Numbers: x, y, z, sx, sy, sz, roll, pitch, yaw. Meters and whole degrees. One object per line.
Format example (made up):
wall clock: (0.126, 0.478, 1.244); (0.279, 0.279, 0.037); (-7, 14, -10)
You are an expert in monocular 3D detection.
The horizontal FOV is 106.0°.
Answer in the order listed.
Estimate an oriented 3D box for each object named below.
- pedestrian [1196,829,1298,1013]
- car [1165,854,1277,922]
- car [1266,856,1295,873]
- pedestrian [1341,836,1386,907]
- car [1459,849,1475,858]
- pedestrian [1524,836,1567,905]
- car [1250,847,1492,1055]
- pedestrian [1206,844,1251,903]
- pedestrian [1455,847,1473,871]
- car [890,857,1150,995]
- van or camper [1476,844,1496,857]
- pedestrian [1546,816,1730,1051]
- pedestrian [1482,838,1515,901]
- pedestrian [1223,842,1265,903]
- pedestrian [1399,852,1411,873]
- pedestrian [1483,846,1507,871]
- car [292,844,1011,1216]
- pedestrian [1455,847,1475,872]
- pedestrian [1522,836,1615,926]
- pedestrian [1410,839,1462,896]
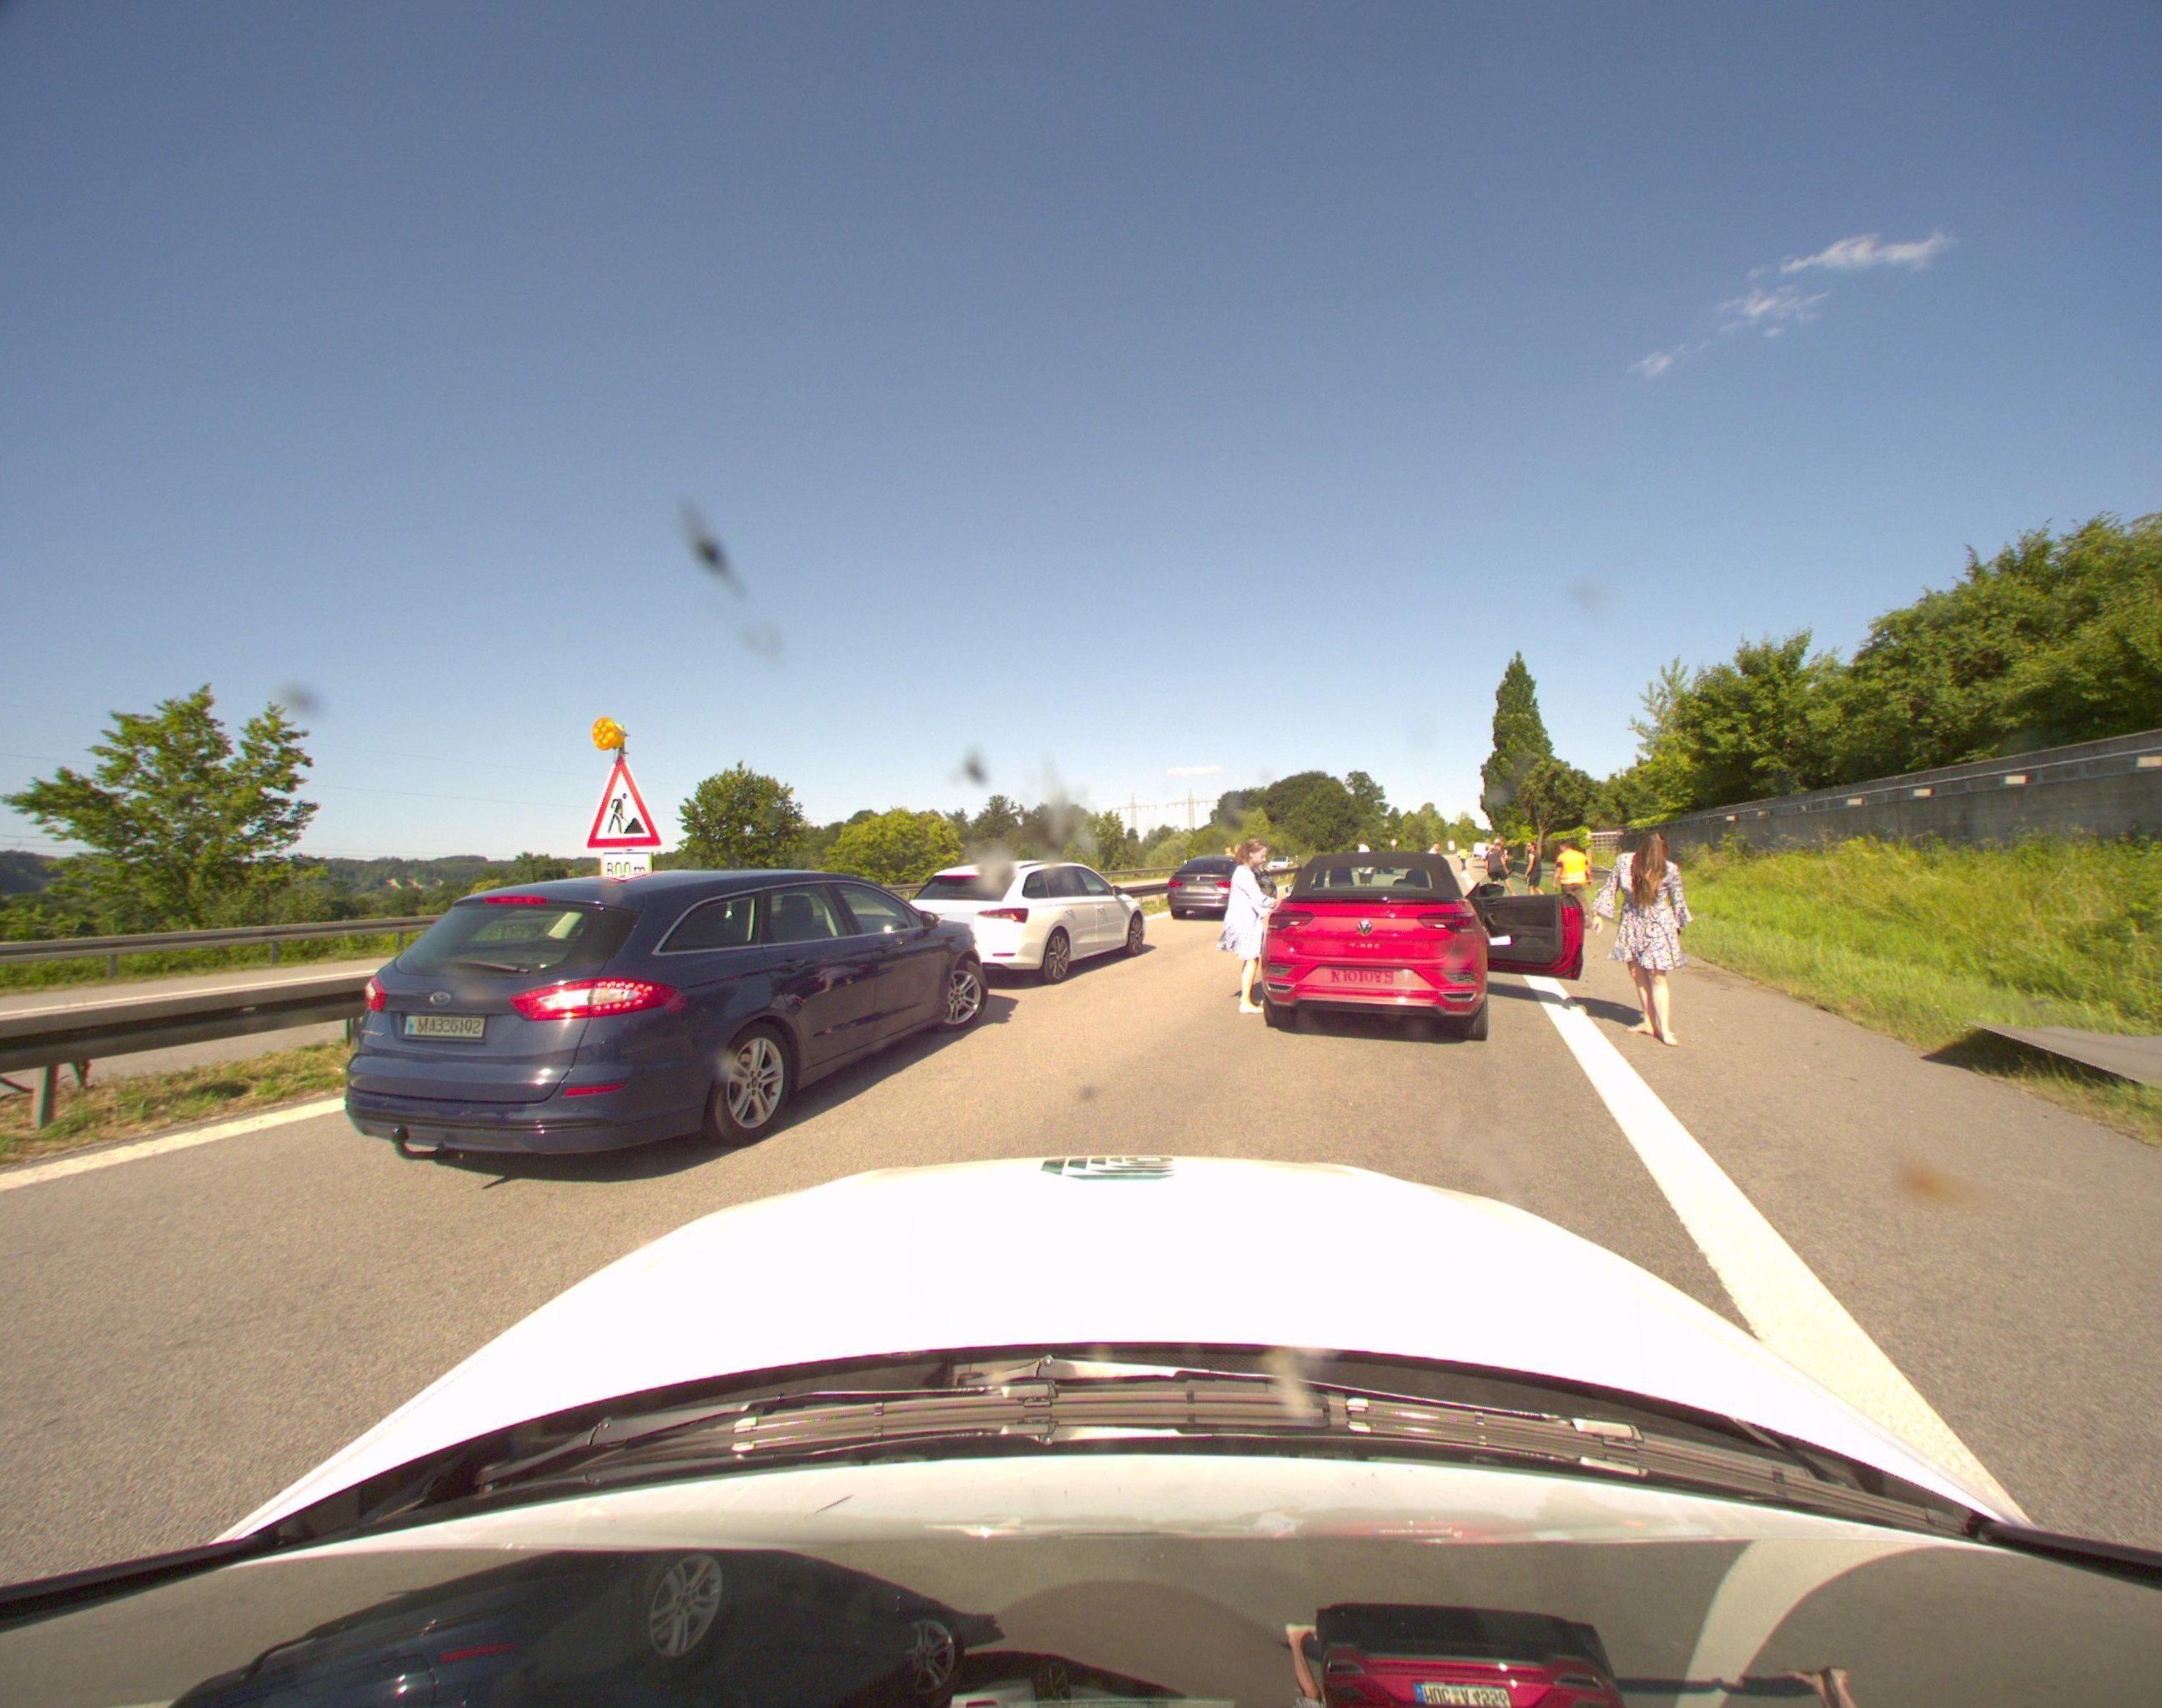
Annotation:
pedestrian: (1.642, 0.617, 7.982); (0.734, 1.683, 0.847); (-2, -1, 26)
car: (3.553, 0.746, 19.953); (1.679, 1.426, 4.358); (-1, 0, 24)
car: (18.188, 0.944, 74.128); (1.679, 1.426, 4.330); (-1, 0, 26)
pedestrian: (7.867, 0.477, 22.672); (1.096, 1.912, 1.263); (-2, -1, 19)
car: (71.522, -0.079, 150.877); (1.716, 1.487, 4.236); (-1, 0, 40)
pedestrian: (11.857, 0.420, 20.820); (0.886, 1.725, 0.759); (-1, -1, 27)
car: (3.004, 0.691, 8.118); (1.717, 1.487, 4.234); (-1, 0, 24)
pedestrian: (4.594, 0.602, 25.271); (1.105, 1.763, 1.050); (-2, -1, 23)
pedestrian: (27.264, 0.375, 57.958); (1.046, 1.689, 1.023); (-1, -1, 30)
car: (-0.571, 0.785, 11.007); (1.679, 1.441, 4.234); (-1, 0, 24)
van or camper: (72.044, -0.662, 144.843); (1.974, 2.316, 4.498); (-1, -1, 41)
pedestrian: (4.499, 0.570, 6.575); (1.134, 1.695, 0.882); (-1, -1, -39)
pedestrian: (12.001, 0.432, 23.418); (0.804, 1.759, 0.833); (-1, -1, 26)
pedestrian: (5.267, 0.591, 26.318); (1.056, 1.883, 1.099); (-2, -1, 23)
pedestrian: (26.449, 0.716, 66.463); (0.784, 1.689, 0.797); (-1, -1, 29)
pedestrian: (27.565, 0.302, 54.234); (1.009, 1.689, 0.994); (0, -1, -16)
car: (-2.133, 0.737, 5.672); (1.775, 1.493, 4.511); (-2, -1, 15)
pedestrian: (26.375, 0.370, 55.958); (1.103, 1.689, 0.979); (-1, -1, 32)
pedestrian: (9.500, 0.510, 15.915); (0.956, 1.654, 1.276); (-2, -1, -4)
pedestrian: (11.470, 0.436, 26.316); (1.096, 1.789, 1.096); (0, -1, -34)
